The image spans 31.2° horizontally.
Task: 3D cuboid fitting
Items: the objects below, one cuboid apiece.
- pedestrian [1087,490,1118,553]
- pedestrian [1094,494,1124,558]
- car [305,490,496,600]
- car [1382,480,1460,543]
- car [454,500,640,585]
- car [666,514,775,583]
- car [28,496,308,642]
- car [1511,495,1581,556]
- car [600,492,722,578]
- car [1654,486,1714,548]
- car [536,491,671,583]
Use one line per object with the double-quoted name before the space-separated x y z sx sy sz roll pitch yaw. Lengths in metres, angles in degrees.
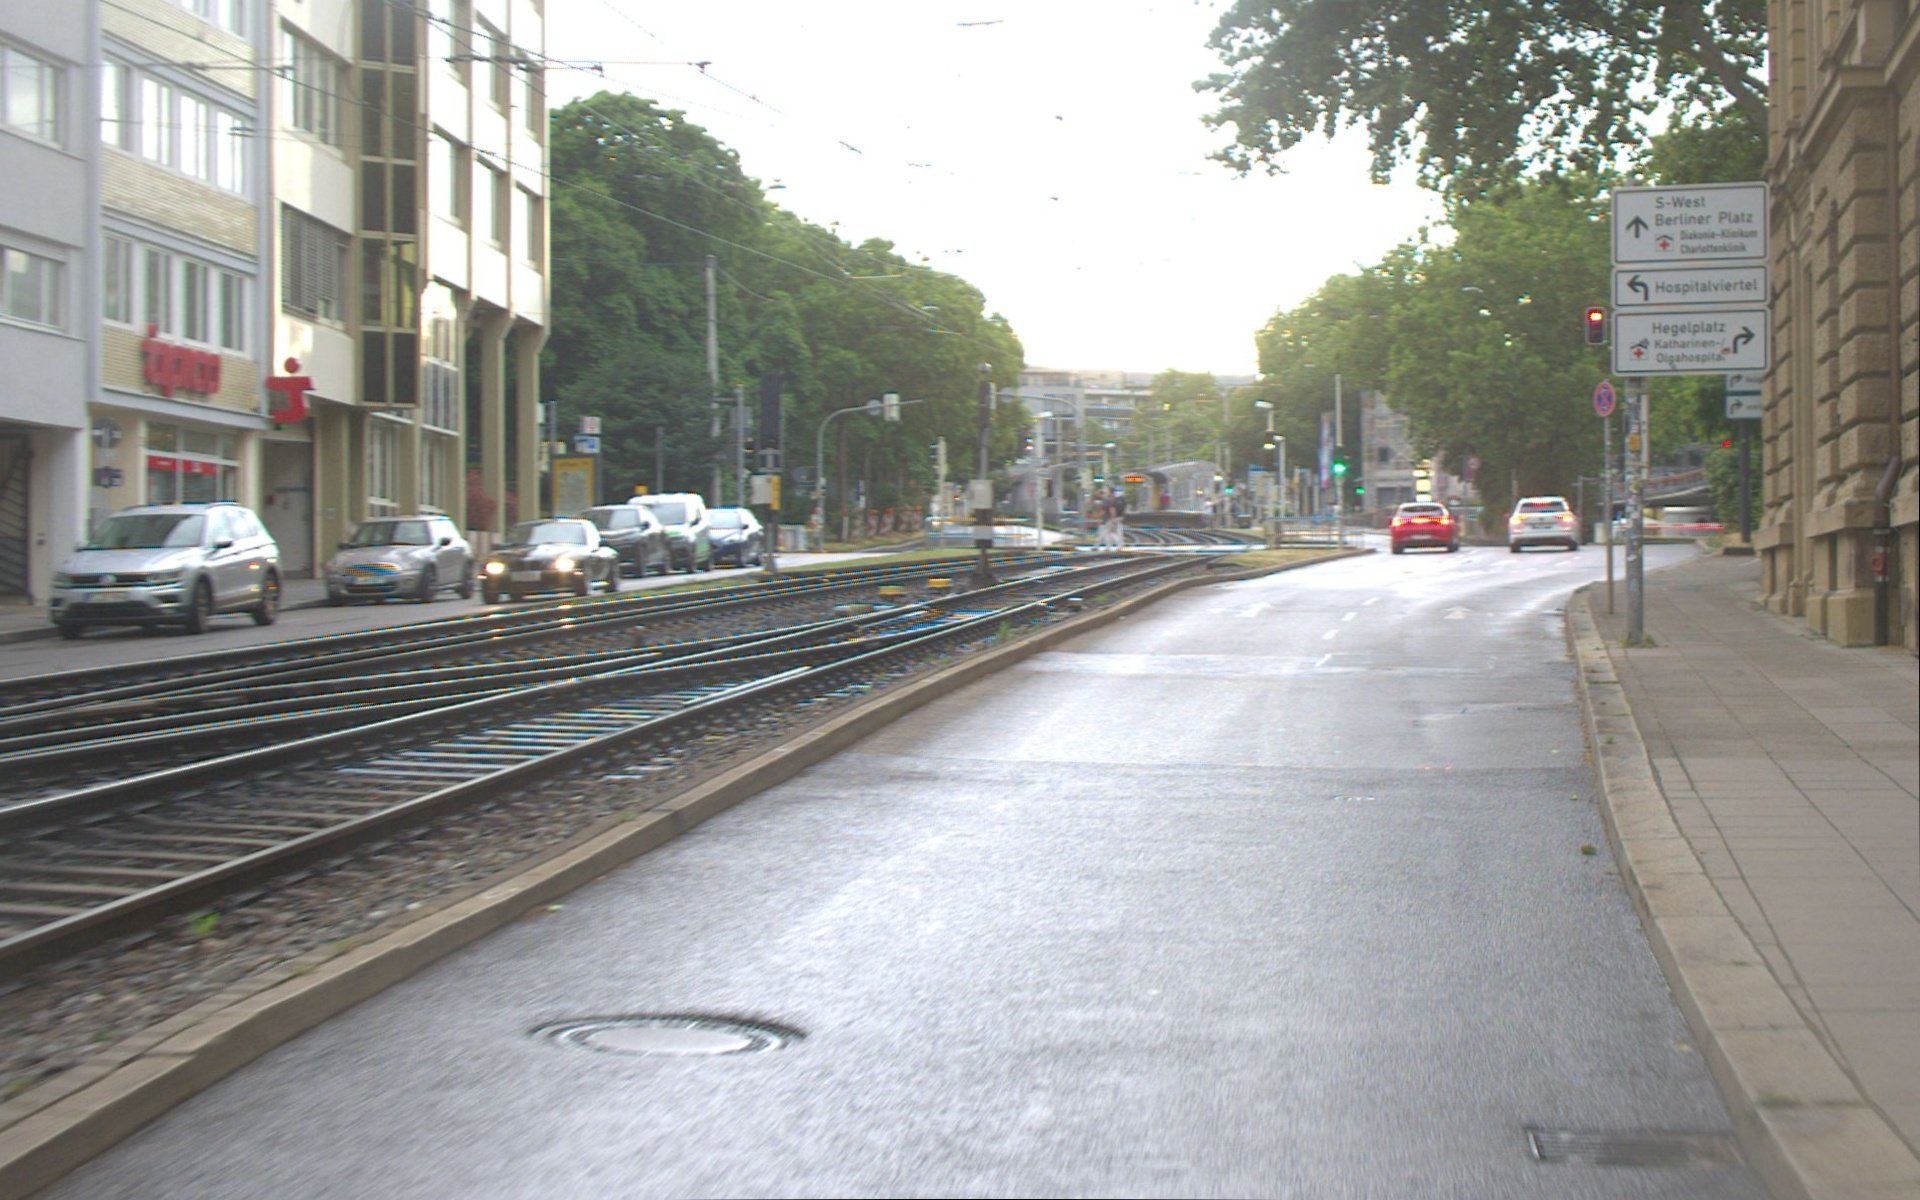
"pedestrian" 4.083 -2.251 98.576 0.638 1.781 0.811 1 0 -16
"pedestrian" 4.229 -2.096 97.697 0.638 1.781 0.811 1 0 -11
"car" -9.048 -0.880 55.977 1.994 1.668 4.694 2 1 4
"car" 12.935 -2.456 96.207 1.981 1.634 4.415 2 1 9
"car" -6.381 -0.876 53.593 1.994 1.251 4.694 -1 0 4
"car" -5.830 -1.241 84.159 1.994 1.576 4.549 2 1 4
"car" -10.038 -0.450 43.954 1.994 1.668 4.694 2 2 7
"car" 15.729 -2.016 92.125 1.680 1.571 4.251 -1 1 12
"car" -6.737 -1.458 77.973 1.994 1.844 4.694 2 1 4
"car" 37.894 -4.328 180.005 2.545 3.123 5.029 2 1 7
"car" -7.488 -1.306 72.712 1.994 1.844 4.694 2 1 4
